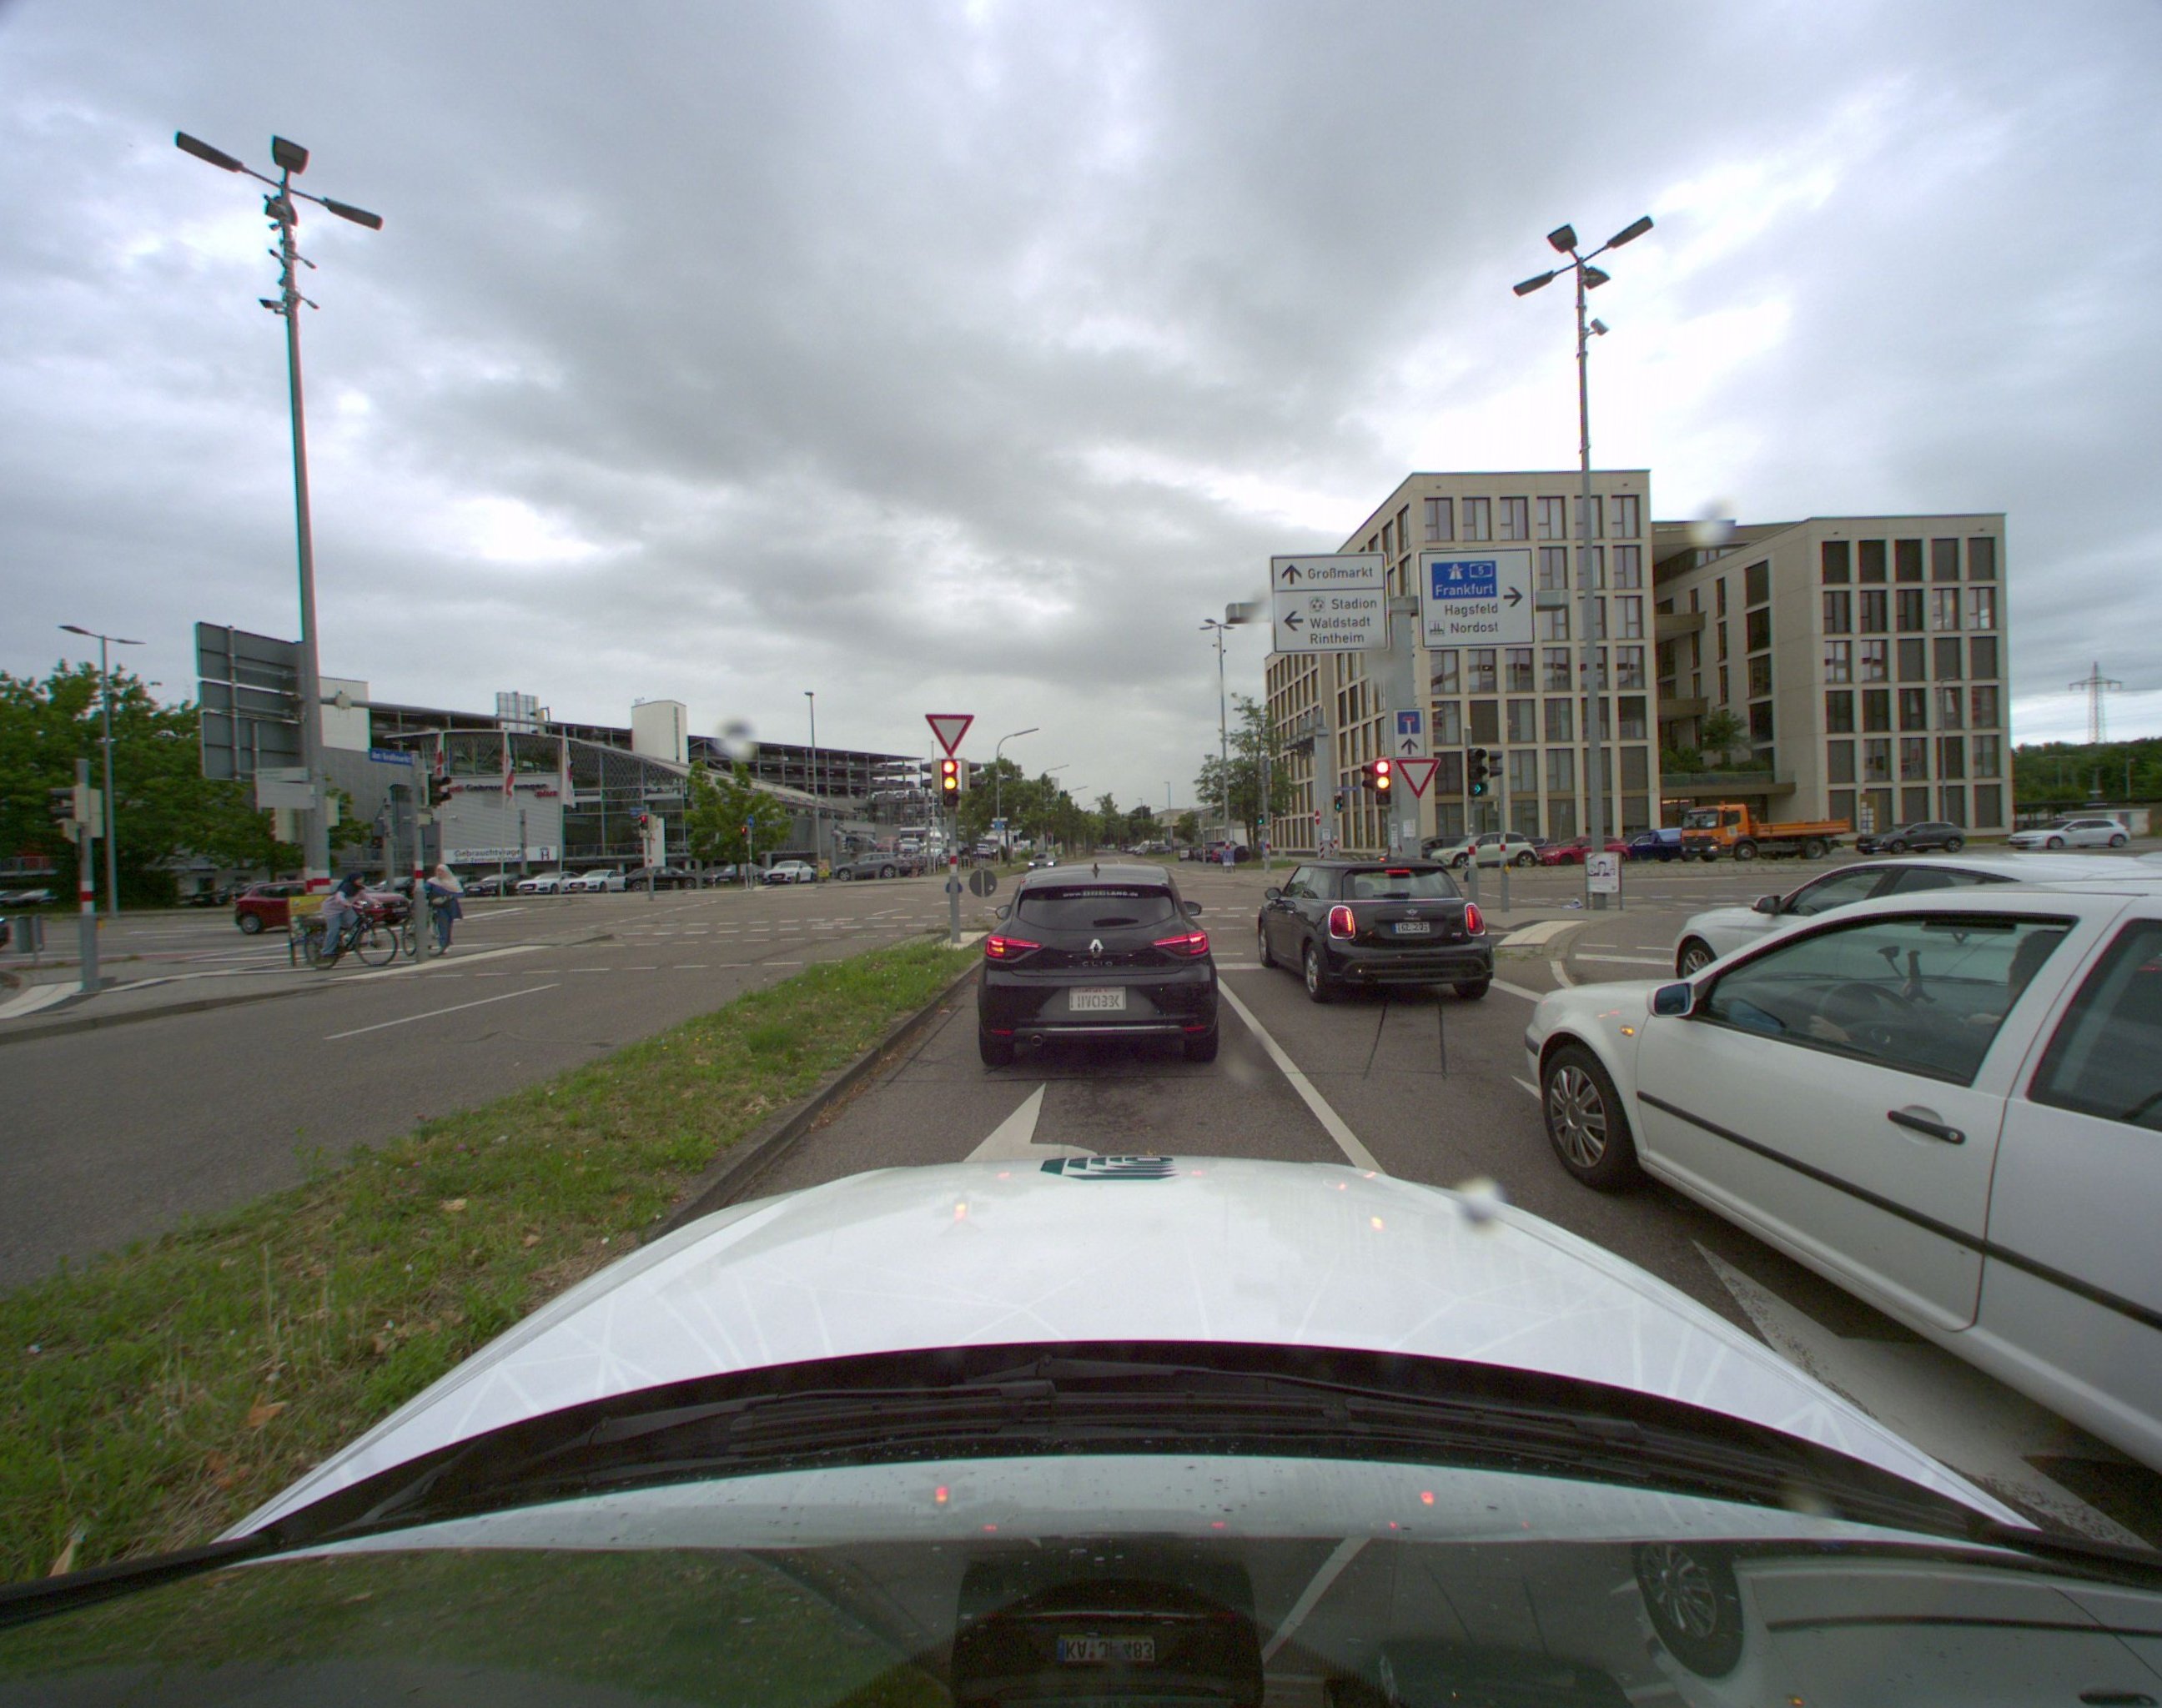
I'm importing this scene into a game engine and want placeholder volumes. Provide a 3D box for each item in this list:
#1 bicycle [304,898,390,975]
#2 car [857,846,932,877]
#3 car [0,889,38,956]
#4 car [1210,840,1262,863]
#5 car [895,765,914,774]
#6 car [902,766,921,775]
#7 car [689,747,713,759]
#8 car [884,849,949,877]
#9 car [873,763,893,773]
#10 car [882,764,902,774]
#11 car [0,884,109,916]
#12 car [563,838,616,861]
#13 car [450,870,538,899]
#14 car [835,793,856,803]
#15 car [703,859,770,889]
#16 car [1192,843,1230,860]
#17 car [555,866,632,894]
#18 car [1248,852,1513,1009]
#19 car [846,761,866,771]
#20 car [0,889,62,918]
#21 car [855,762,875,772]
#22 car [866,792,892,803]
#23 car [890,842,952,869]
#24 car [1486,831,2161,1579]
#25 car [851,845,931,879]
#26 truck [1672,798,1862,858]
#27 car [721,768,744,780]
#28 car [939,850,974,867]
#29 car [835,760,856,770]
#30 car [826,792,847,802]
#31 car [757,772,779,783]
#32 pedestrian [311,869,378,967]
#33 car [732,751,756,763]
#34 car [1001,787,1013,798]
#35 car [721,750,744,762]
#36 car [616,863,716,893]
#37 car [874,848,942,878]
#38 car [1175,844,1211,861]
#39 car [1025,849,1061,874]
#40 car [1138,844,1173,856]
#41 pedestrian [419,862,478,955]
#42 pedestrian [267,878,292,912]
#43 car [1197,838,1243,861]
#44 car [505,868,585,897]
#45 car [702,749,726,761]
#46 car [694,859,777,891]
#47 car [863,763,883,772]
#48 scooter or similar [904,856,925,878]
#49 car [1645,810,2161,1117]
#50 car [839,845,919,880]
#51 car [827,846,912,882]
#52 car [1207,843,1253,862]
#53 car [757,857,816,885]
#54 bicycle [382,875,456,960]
[{"bbox_3d":[-12.106,1.348,13.414,1.922,1.166,0.511,-3,-2,31],"label":"bicycle"},{"bbox_3d":[-13.597,0.542,59.657,4.938,1.876,2.050,-4,-1,-5],"label":"car"},{"bbox_3d":[-29.731,1.884,20.400,4.311,1.636,1.884,-3,3,-4],"label":"car"},{"bbox_3d":[12.669,-0.201,66.510,4.153,1.768,1.867,-1,-1,-38],"label":"car"},{"bbox_3d":[-39.243,-18.727,181.183,3.948,1.667,2.013,-1,0,33],"label":"car"},{"bbox_3d":[-38.067,-18.768,183.100,3.948,1.667,2.013,-1,0,33],"label":"car"},{"bbox_3d":[-65.639,-17.412,140.678,3.948,1.667,2.013,-1,0,33],"label":"car"},{"bbox_3d":[-13.647,0.727,67.692,4.882,2.013,1.998,-4,0,-3],"label":"car"},{"bbox_3d":[-42.697,-18.581,175.798,3.948,1.667,2.013,-1,0,33],"label":"car"},{"bbox_3d":[-41.220,-18.571,177.873,3.948,1.667,2.013,-1,0,33],"label":"car"},{"bbox_3d":[-57.780,2.595,45.438,1.865,1.603,4.245,0,-6,-2],"label":"car"},{"bbox_3d":[-37.745,-0.321,62.691,1.815,1.662,3.996,0,-1,-3],"label":"car"},{"bbox_3d":[-32.853,1.713,45.736,1.860,1.486,4.229,-2,-2,-1],"label":"car"},{"bbox_3d":[-48.253,-11.455,167.099,3.948,1.667,2.013,-1,0,33],"label":"car"},{"bbox_3d":[-19.699,1.183,46.800,2.059,1.486,4.511,-3,-2,-3],"label":"car"},{"bbox_3d":[12.385,-0.224,77.516,1.676,1.511,3.840,-2,-1,45],"label":"car"},{"bbox_3d":[-27.544,1.493,46.164,1.841,1.486,4.196,-2,-2,-1],"label":"car"},{"bbox_3d":[3.099,0.712,9.235,1.779,1.416,3.645,0,-1,2],"label":"car"},{"bbox_3d":[-46.703,-18.320,169.080,3.948,1.667,2.013,-1,0,33],"label":"car"},{"bbox_3d":[-60.441,2.768,45.403,1.815,1.487,4.216,0,-6,-2],"label":"car"},{"bbox_3d":[-45.526,-18.325,171.678,3.948,1.667,2.013,-1,0,33],"label":"car"},{"bbox_3d":[-43.751,-12.256,176.245,5.263,1.945,2.225,-1,0,30],"label":"car"},{"bbox_3d":[-13.797,0.159,70.534,4.882,2.013,1.998,-4,0,-3],"label":"car"},{"bbox_3d":[3.069,0.693,2.432,1.826,1.478,4.006,0,-1,2],"label":"car"},{"bbox_3d":[-13.262,0.529,57.019,5.011,2.013,2.264,-4,0,-3],"label":"car"},{"bbox_3d":[32.047,-1.174,38.226,6.633,2.638,2.820,0,-1,-1],"label":"truck"},{"bbox_3d":[-62.095,-14.290,145.143,3.948,1.667,2.013,-1,0,33],"label":"car"},{"bbox_3d":[-15.217,0.513,99.461,3.975,2.014,1.999,0,-1,-1],"label":"car"},{"bbox_3d":[-48.149,-18.245,166.811,3.948,1.667,2.013,-1,0,33],"label":"car"},{"bbox_3d":[-49.458,-11.540,164.694,3.948,1.667,2.013,-1,0,33],"label":"car"},{"bbox_3d":[-58.120,-14.274,151.228,3.948,1.667,2.013,-1,0,33],"label":"car"},{"bbox_3d":[-12.156,1.042,13.442,0.641,1.549,0.658,-4,-3,31],"label":"pedestrian"},{"bbox_3d":[-61.019,-17.604,147.407,3.948,1.667,2.013,-1,0,33],"label":"car"},{"bbox_3d":[-14.540,-12.019,159.505,1.989,1.882,3.996,-2,-1,-2],"label":"car"},{"bbox_3d":[-62.144,-17.399,145.251,3.948,1.667,2.013,-1,0,33],"label":"car"},{"bbox_3d":[-23.747,1.406,46.707,4.726,1.486,1.891,-2,-3,-2],"label":"car"},{"bbox_3d":[-13.734,0.735,64.972,4.882,2.013,1.998,-4,0,-3],"label":"car"},{"bbox_3d":[11.554,-0.154,83.852,3.451,1.732,1.745,0,-1,-40],"label":"car"},{"bbox_3d":[-2.530,0.459,55.462,1.970,1.551,4.617,-2,1,3],"label":"car"},{"bbox_3d":[11.252,-0.554,123.670,5.158,1.720,2.143,0,-1,-1],"label":"car"},{"bbox_3d":[-11.643,0.997,14.990,0.683,1.626,0.645,-5,-1,42],"label":"pedestrian"},{"bbox_3d":[-45.151,2.327,45.867,0.714,1.871,0.673,-2,-2,0],"label":"pedestrian"},{"bbox_3d":[12.661,-0.417,74.105,1.975,1.965,4.271,-2,-1,43],"label":"car"},{"bbox_3d":[-30.106,1.604,45.880,1.865,1.486,4.041,-2,-2,-1],"label":"car"},{"bbox_3d":[-64.441,-17.402,142.827,3.948,1.667,2.013,-1,0,33],"label":"car"},{"bbox_3d":[-23.786,1.409,56.185,4.788,1.939,1.999,-2,0,-1],"label":"car"},{"bbox_3d":[-44.301,-18.425,173.628,3.948,1.667,2.013,-1,0,33],"label":"car"},{"bbox_3d":[-9.961,0.762,48.686,0.553,1.218,1.567,1,1,16],"label":"scooter or similar"},{"bbox_3d":[6.118,0.510,5.731,1.819,1.410,4.206,0,-1,8],"label":"car"},{"bbox_3d":[-13.338,0.567,54.011,4.690,2.013,1.998,-4,0,-3],"label":"car"},{"bbox_3d":[-13.316,0.624,51.438,4.761,1.862,1.998,-4,0,-3],"label":"car"},{"bbox_3d":[12.981,-0.159,70.893,4.157,1.551,1.865,-1,-1,-43],"label":"car"},{"bbox_3d":[-16.896,0.988,46.924,1.863,1.486,4.227,-3,-2,-1],"label":"car"},{"bbox_3d":[-11.978,1.146,14.712,1.909,1.396,0.601,-5,0,40],"label":"bicycle"}]
